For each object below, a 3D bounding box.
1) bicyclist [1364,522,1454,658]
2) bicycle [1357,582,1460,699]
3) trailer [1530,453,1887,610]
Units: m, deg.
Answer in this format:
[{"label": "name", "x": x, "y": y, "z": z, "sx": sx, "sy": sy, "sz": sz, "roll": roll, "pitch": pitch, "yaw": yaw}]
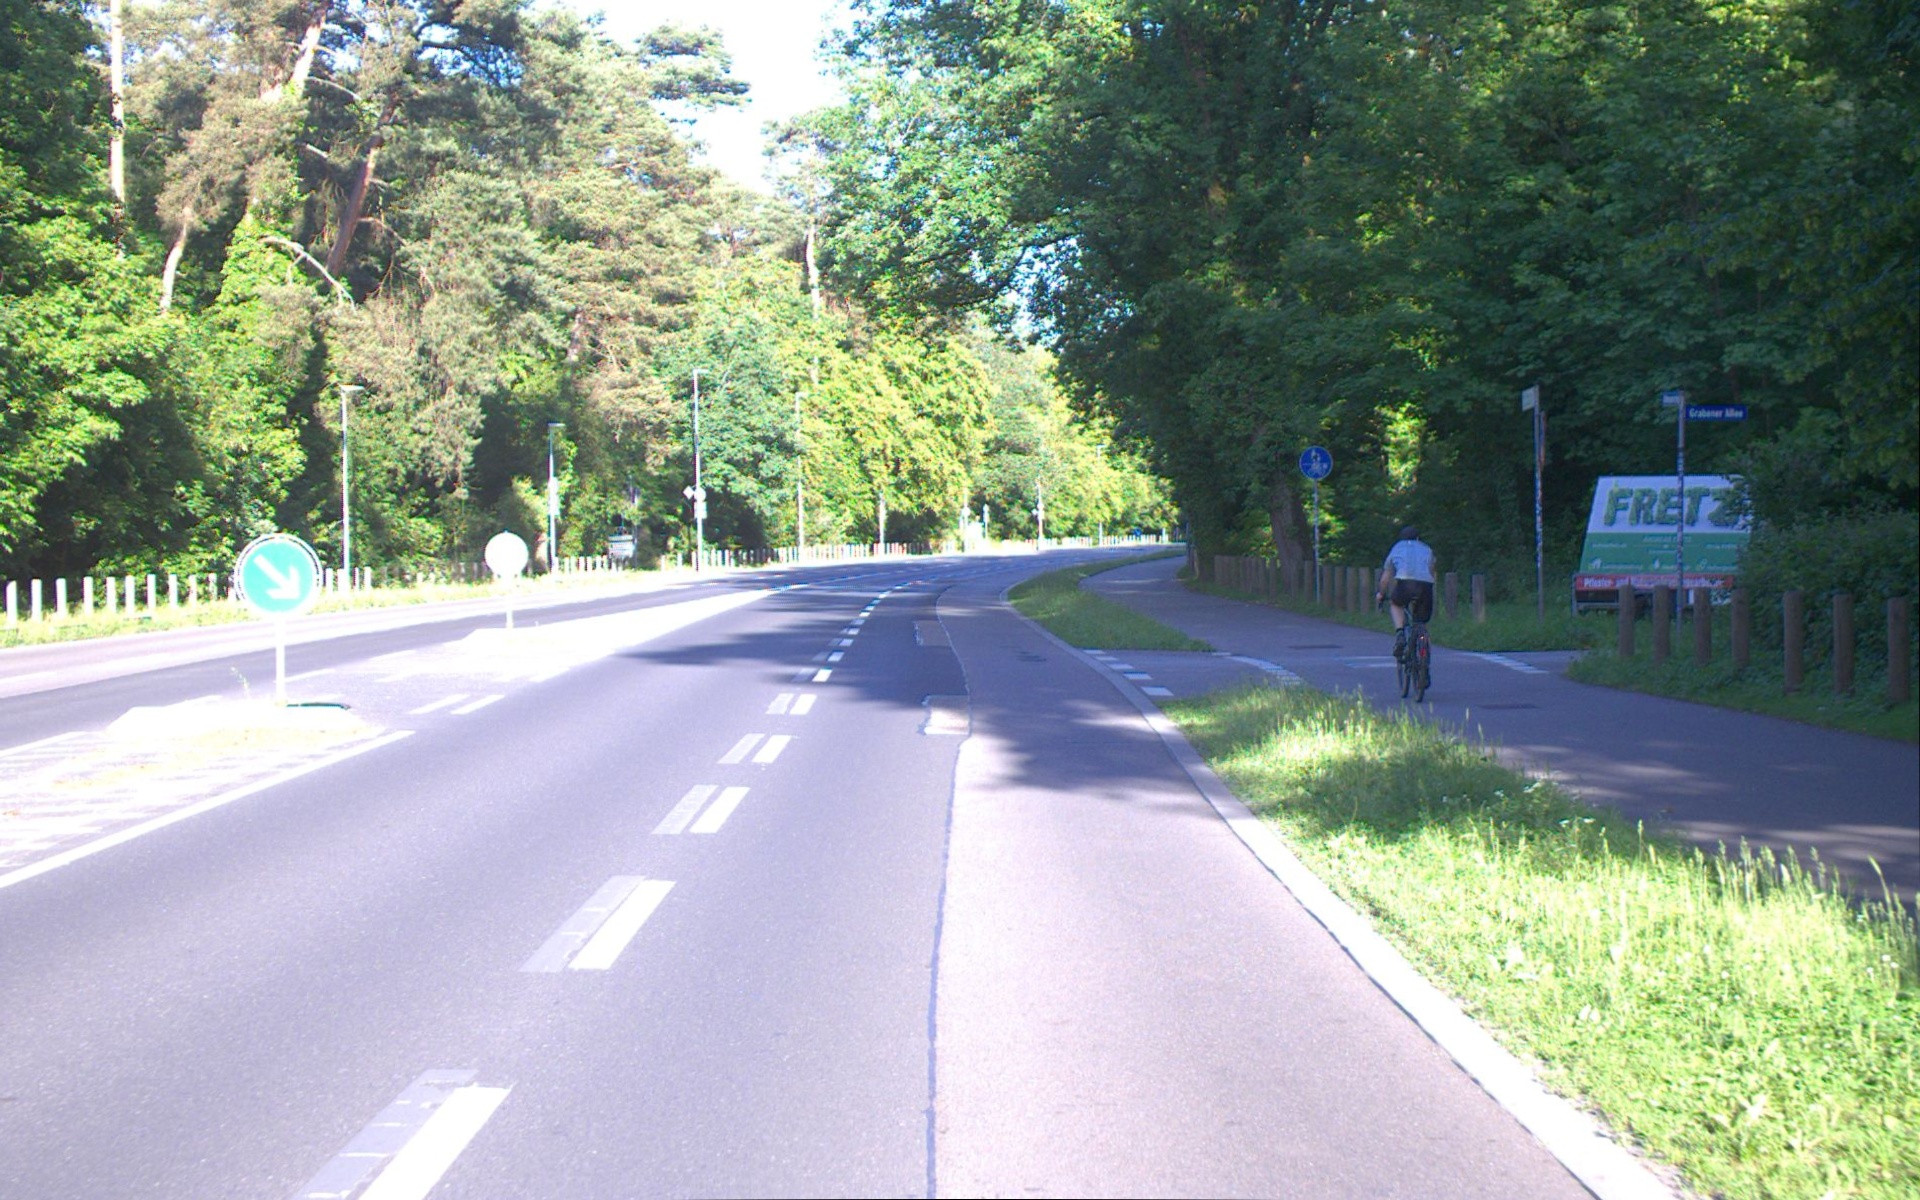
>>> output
[{"label": "bicyclist", "x": 4.303, "y": -0.104, "z": 33.014, "sx": 0.712, "sy": 1.284, "sz": 1.104, "roll": 0, "pitch": 1, "yaw": 0}, {"label": "bicycle", "x": 4.302, "y": 0.374, "z": 33.098, "sx": 0.712, "sy": 1.052, "sz": 2.053, "roll": 0, "pitch": 1, "yaw": 0}, {"label": "trailer", "x": 10.034, "y": -0.898, "z": 46.207, "sx": 4.223, "sy": 2.014, "sz": 1.995, "roll": 0, "pitch": 1, "yaw": 41}]
